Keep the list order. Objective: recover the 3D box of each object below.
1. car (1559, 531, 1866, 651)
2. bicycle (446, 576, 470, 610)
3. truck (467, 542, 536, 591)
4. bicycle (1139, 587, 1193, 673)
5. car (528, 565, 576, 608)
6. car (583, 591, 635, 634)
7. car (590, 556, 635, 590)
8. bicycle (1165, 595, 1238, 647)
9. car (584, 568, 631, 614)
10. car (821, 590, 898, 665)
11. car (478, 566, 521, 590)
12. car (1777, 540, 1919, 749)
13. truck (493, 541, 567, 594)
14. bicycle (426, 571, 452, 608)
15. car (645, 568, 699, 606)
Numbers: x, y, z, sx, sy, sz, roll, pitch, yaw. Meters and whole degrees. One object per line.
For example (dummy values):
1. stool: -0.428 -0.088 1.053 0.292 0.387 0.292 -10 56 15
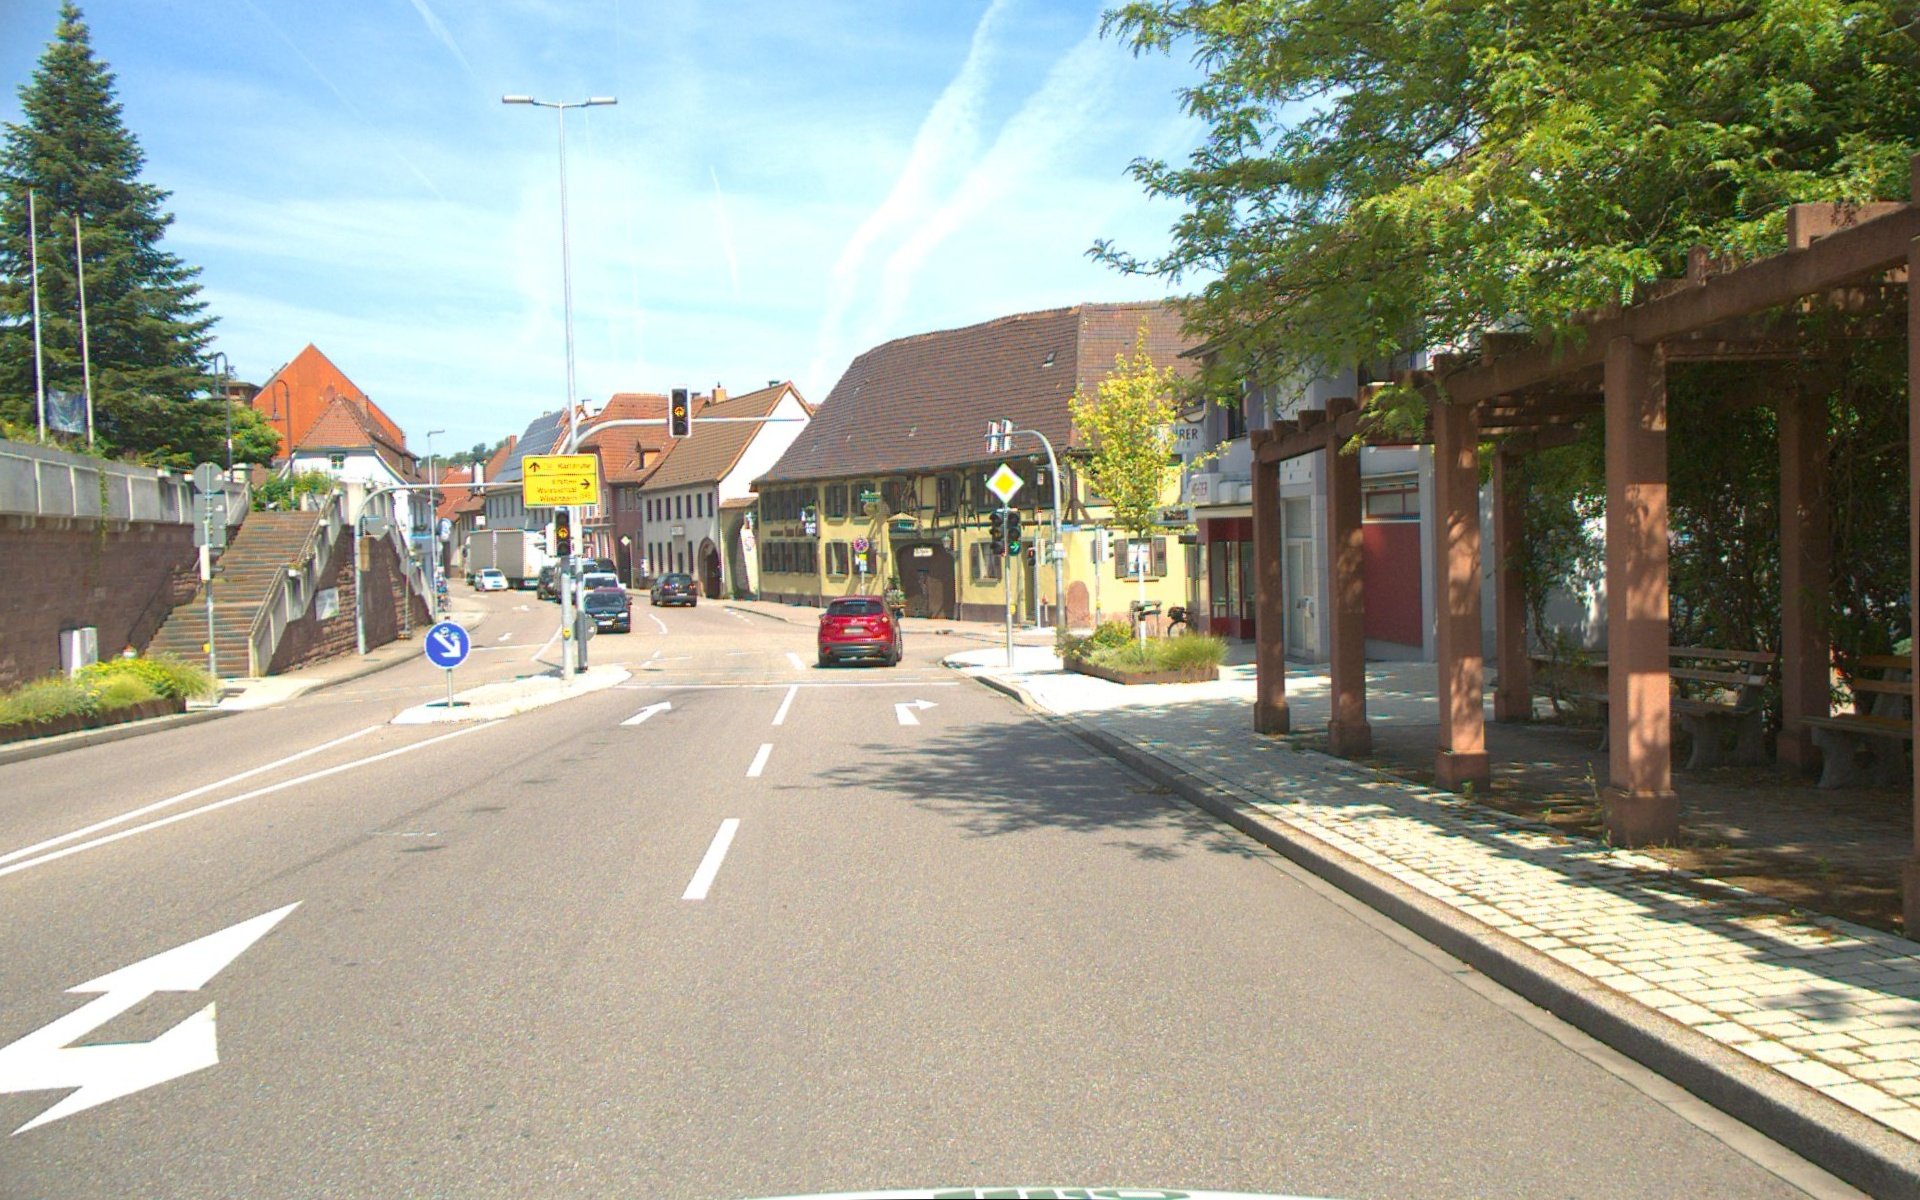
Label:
1. car: 10.807 -0.137 23.905 3.625 1.536 1.723 -2 1 -4
2. bicycle: -24.922 -0.380 82.063 0.547 1.635 2.561 1 1 -4
3. truck: -35.069 -2.489 126.180 3.122 3.520 10.619 0 0 -27
4. bicycle: 3.370 0.467 27.196 0.519 1.301 1.992 -4 1 -1
5. car: -22.718 -0.773 92.040 1.736 2.285 4.517 0 1 -25
6. car: -13.248 0.439 62.293 1.789 1.459 4.235 -1 2 -13
7. car: -21.229 -1.670 100.893 1.823 2.048 3.968 0 1 -25
8. bicycle: 6.213 0.543 42.598 1.768 1.256 0.549 -2 1 -5
9. car: -16.341 -0.474 76.533 1.791 1.939 4.944 -2 2 -15
10. car: -2.430 0.610 39.806 1.769 1.692 3.809 0 1 -4
11. car: -31.635 -1.531 113.595 1.768 1.552 3.963 -3 3 -31
12. car: 9.414 0.198 13.788 4.397 1.571 1.722 -4 0 -7
13. truck: -30.584 -2.330 117.340 3.186 3.611 9.147 0 1 -28
14. bicycle: -25.993 -0.519 82.560 0.628 1.810 2.668 1 1 -4
15. car: -14.560 -0.665 83.537 1.796 1.769 3.977 -3 2 -23
